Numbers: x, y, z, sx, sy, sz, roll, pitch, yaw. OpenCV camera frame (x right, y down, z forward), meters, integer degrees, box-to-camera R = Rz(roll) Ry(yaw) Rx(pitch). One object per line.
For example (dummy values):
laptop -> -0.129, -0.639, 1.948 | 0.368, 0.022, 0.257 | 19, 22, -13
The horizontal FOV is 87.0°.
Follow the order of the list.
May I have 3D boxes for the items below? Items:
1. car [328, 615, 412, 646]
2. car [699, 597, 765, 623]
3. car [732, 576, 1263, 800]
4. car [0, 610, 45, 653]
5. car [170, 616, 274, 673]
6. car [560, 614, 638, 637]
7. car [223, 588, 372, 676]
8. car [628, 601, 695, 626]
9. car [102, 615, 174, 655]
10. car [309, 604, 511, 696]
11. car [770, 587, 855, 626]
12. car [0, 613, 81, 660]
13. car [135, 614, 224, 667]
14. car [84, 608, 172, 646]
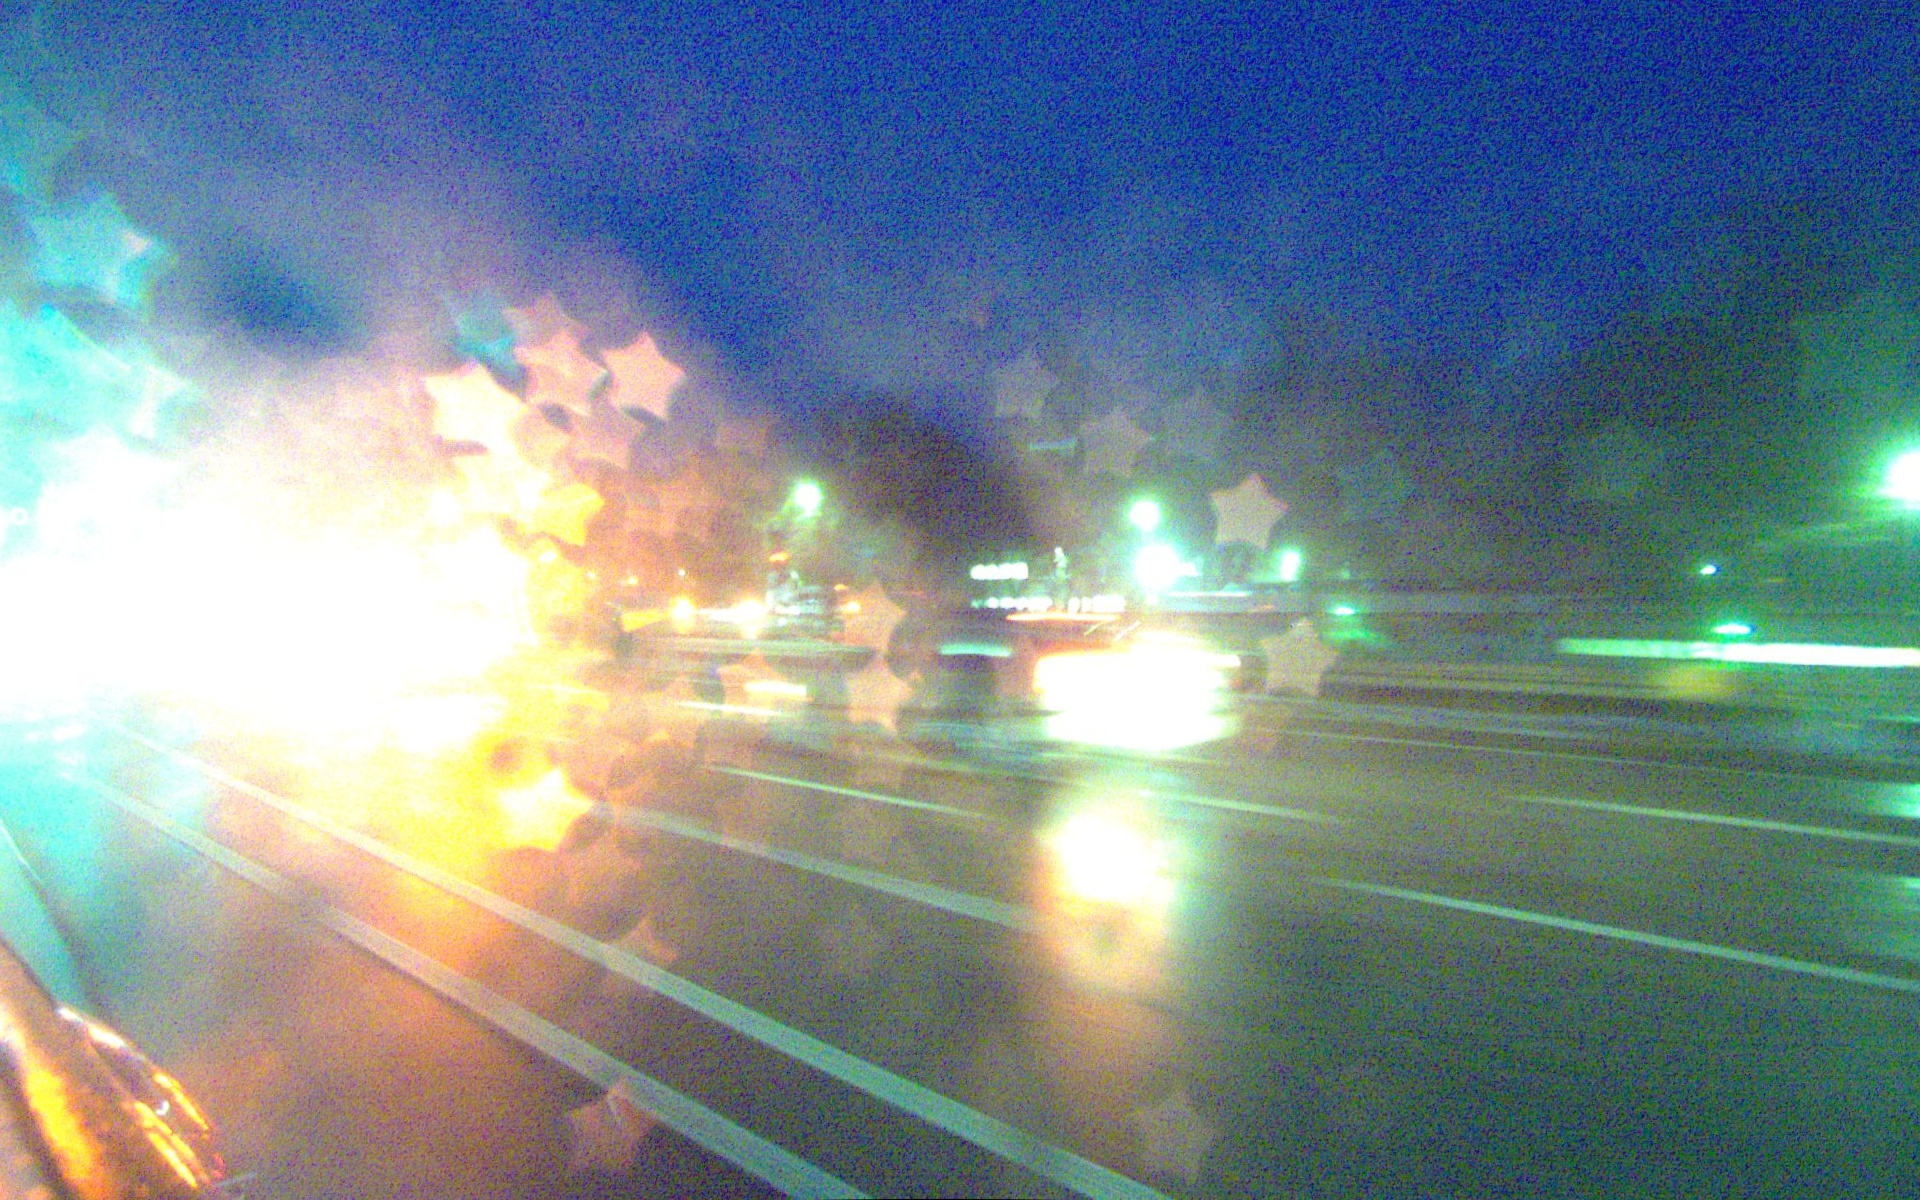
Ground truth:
car -> -36.644, 1.885, 62.972 | 4.446, 1.858, 2.006 | 0, -2, -28
car -> -15.317, 0.679, 67.945 | 4.437, 1.706, 1.830 | -1, 0, 34
car -> 0.081, 0.646, 9.497 | 2.059, 1.554, 4.901 | 0, -1, -45
car -> -40.966, 1.330, 43.442 | 5.011, 1.711, 1.972 | 0, 1, 42
car -> -22.248, 1.290, 30.455 | 3.689, 1.540, 1.944 | -1, 0, 44
car -> -23.308, 1.621, 65.434 | 4.434, 1.375, 1.669 | -1, 1, -6
car -> -16.999, 0.758, 25.849 | 4.996, 2.029, 2.130 | -1, 0, 44
car -> -20.701, 0.941, 70.212 | 3.960, 1.603, 1.992 | -1, 0, 14
car -> -33.292, 1.384, 40.966 | 3.602, 1.463, 1.803 | 0, 1, 43
car -> -10.941, 0.905, 19.928 | 2.156, 1.570, 5.207 | 0, -1, -45
car -> -9.200, 0.403, 62.835 | 6.023, 2.325, 1.971 | -1, 0, 44
car -> -35.109, 1.338, 38.538 | 4.466, 1.582, 1.936 | 0, 1, 42
car -> -28.120, 1.399, 36.411 | 4.501, 1.760, 1.971 | -1, 0, 45
car -> -37.375, 1.203, 45.426 | 5.158, 1.568, 2.333 | -1, 0, 42
